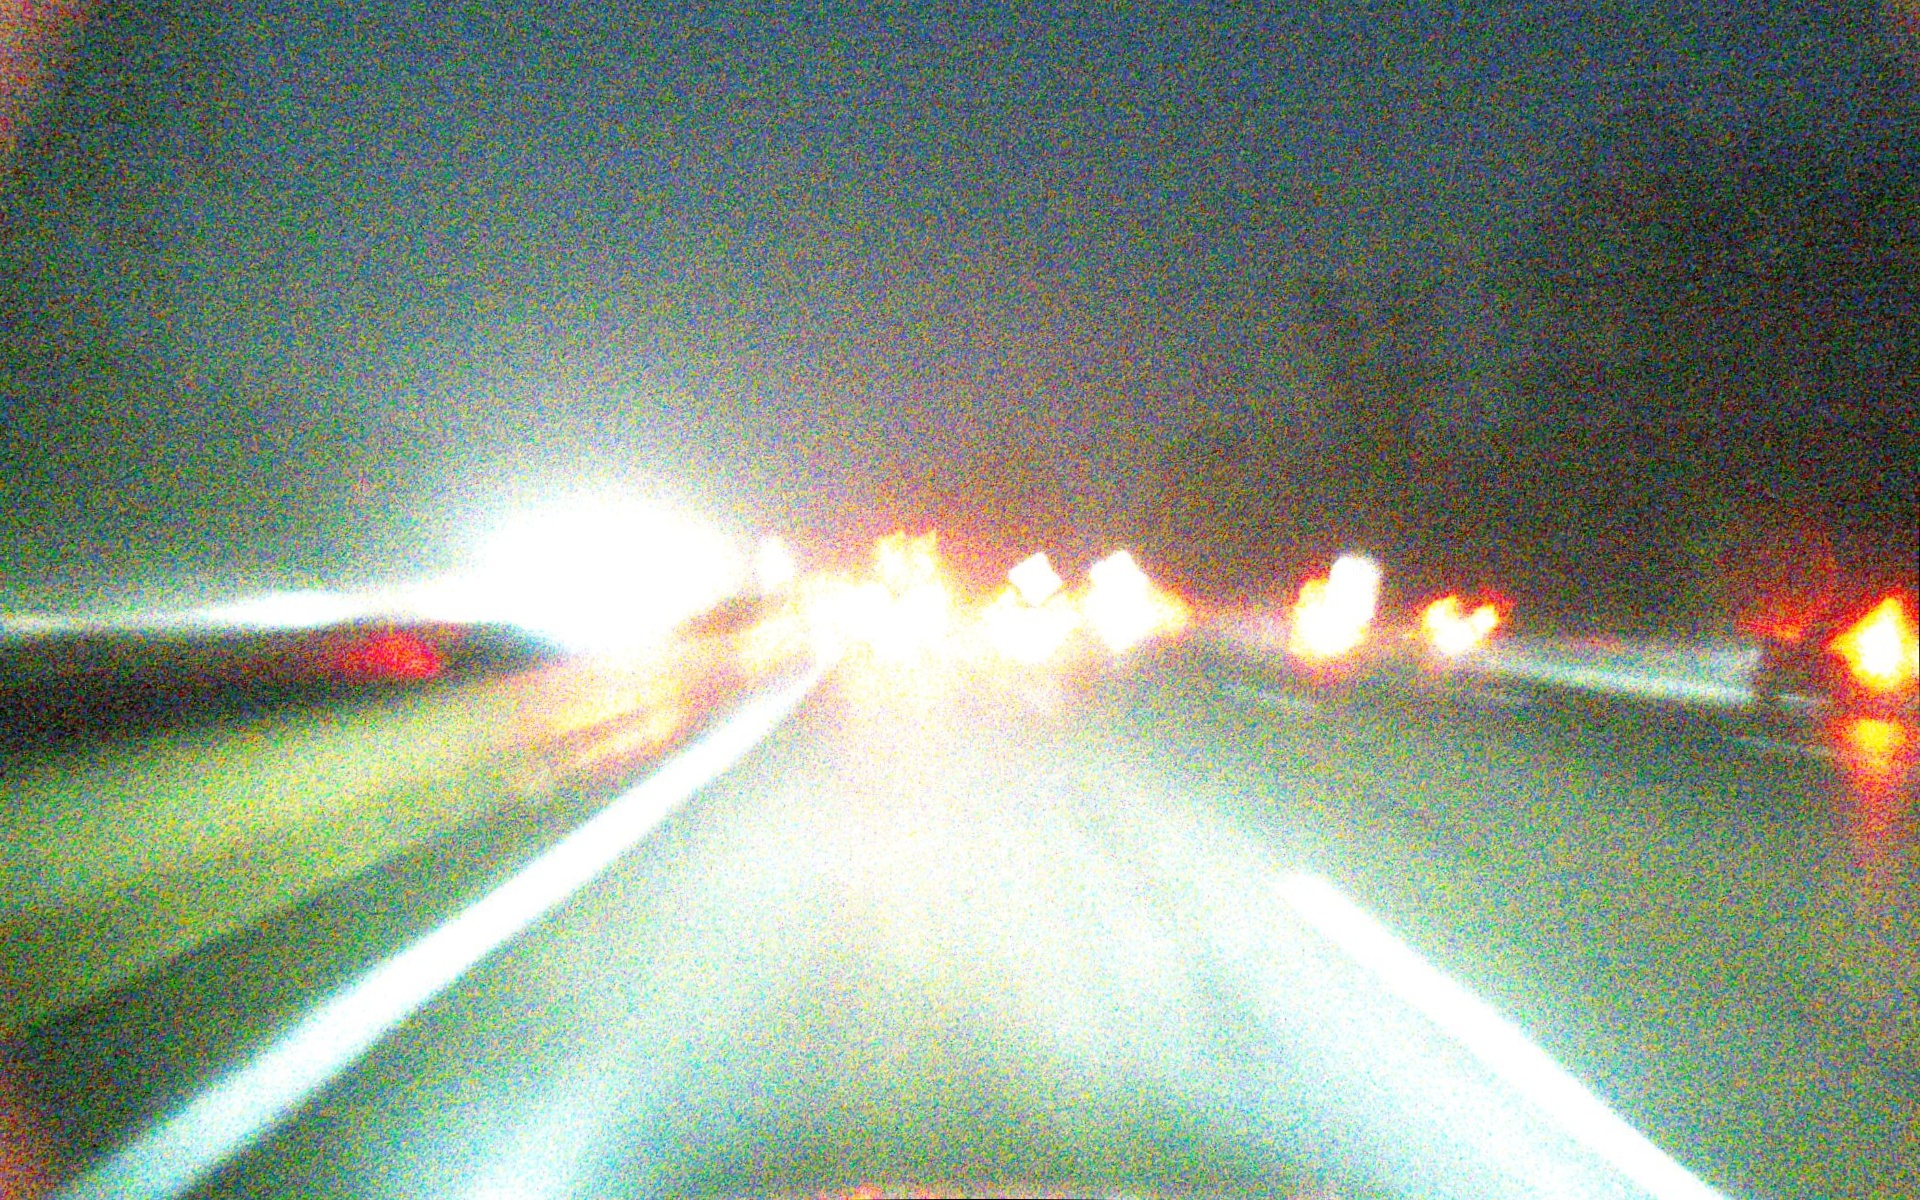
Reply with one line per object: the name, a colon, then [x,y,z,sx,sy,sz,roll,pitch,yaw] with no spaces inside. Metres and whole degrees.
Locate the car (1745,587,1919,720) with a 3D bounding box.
car: [15.820,0.842,28.814,2.019,2.048,5.452,2,1,5]

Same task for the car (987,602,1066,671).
car: [1.682,0.895,42.807,1.764,1.645,4.255,-1,0,-1]

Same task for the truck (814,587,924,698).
truck: [-2.001,0.840,36.851,2.102,2.113,6.600,3,0,-3]

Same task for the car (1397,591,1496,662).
car: [15.364,0.789,52.455,2.185,2.048,4.003,2,1,5]

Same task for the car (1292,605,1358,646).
car: [16.391,1.120,74.401,1.953,1.628,3.999,3,0,-1]

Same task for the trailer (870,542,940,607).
trailer: [-4.138,-1.852,120.704,2.691,4.322,13.332,3,0,-12]
